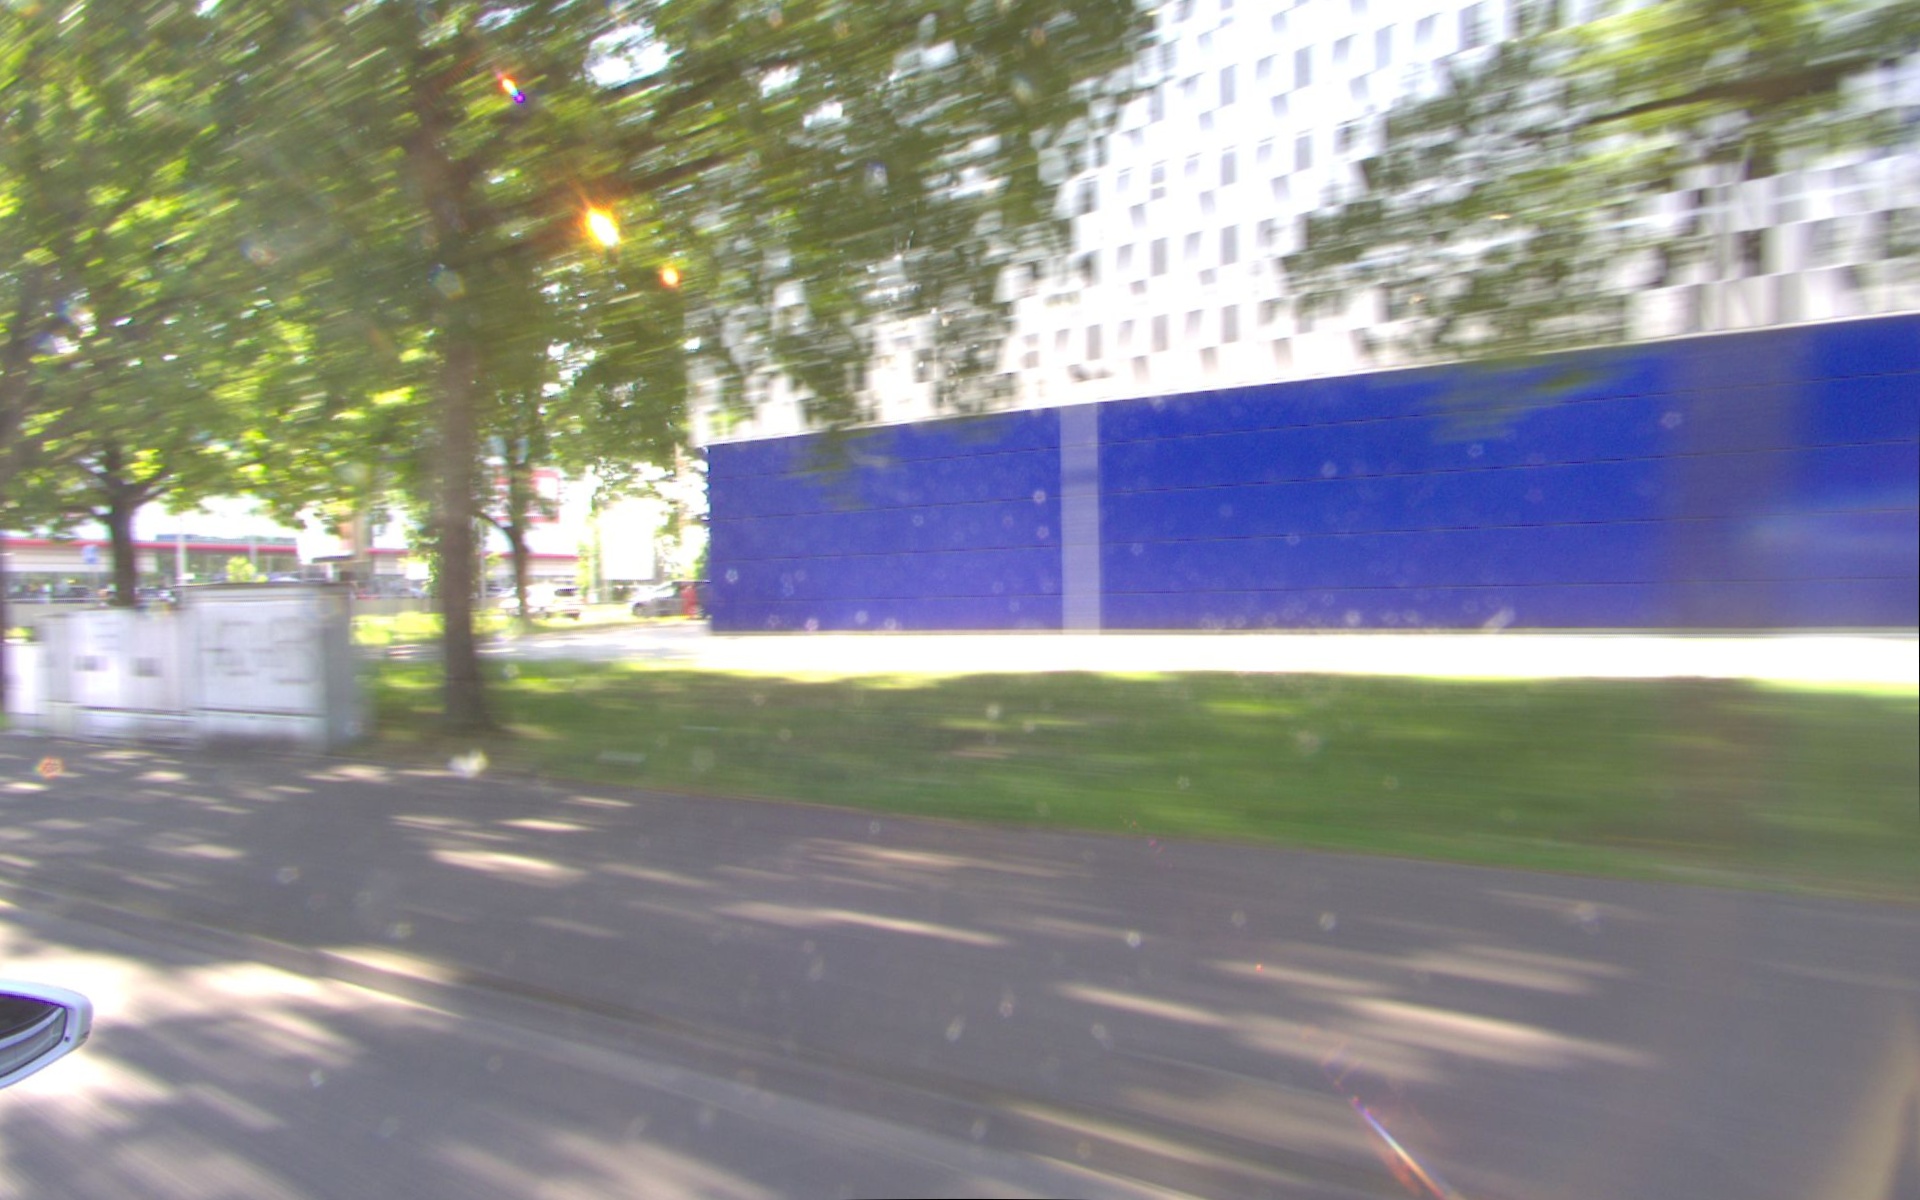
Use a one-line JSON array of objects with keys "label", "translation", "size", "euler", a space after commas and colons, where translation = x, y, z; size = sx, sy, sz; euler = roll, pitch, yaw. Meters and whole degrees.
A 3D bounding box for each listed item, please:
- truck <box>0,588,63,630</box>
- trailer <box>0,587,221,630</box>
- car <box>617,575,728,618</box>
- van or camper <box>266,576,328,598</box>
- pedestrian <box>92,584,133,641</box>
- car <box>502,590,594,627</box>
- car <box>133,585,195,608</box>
[{"label": "truck", "translation": [-56.457, 0.517, 59.063], "size": [1.969, 2.455, 4.878], "euler": [1, -1, 28]}, {"label": "trailer", "translation": [-54.105, 0.641, 63.533], "size": [1.969, 2.501, 11.865], "euler": [1, -1, 28]}, {"label": "car", "translation": [-11.023, -0.128, 38.355], "size": [3.863, 1.509, 1.785], "euler": [-1, 1, 26]}, {"label": "van or camper", "translation": [-67.878, -1.291, 102.662], "size": [1.967, 2.040, 4.984], "euler": [1, -1, 26]}, {"label": "pedestrian", "translation": [-27.301, 0.403, 32.251], "size": [0.791, 1.794, 0.628], "euler": [-1, 2, 16]}, {"label": "car", "translation": [-17.444, 0.367, 42.373], "size": [3.873, 1.509, 1.781], "euler": [-1, 1, 35]}, {"label": "car", "translation": [-73.636, -0.330, 92.702], "size": [1.967, 2.040, 3.988], "euler": [1, -1, 25]}]
